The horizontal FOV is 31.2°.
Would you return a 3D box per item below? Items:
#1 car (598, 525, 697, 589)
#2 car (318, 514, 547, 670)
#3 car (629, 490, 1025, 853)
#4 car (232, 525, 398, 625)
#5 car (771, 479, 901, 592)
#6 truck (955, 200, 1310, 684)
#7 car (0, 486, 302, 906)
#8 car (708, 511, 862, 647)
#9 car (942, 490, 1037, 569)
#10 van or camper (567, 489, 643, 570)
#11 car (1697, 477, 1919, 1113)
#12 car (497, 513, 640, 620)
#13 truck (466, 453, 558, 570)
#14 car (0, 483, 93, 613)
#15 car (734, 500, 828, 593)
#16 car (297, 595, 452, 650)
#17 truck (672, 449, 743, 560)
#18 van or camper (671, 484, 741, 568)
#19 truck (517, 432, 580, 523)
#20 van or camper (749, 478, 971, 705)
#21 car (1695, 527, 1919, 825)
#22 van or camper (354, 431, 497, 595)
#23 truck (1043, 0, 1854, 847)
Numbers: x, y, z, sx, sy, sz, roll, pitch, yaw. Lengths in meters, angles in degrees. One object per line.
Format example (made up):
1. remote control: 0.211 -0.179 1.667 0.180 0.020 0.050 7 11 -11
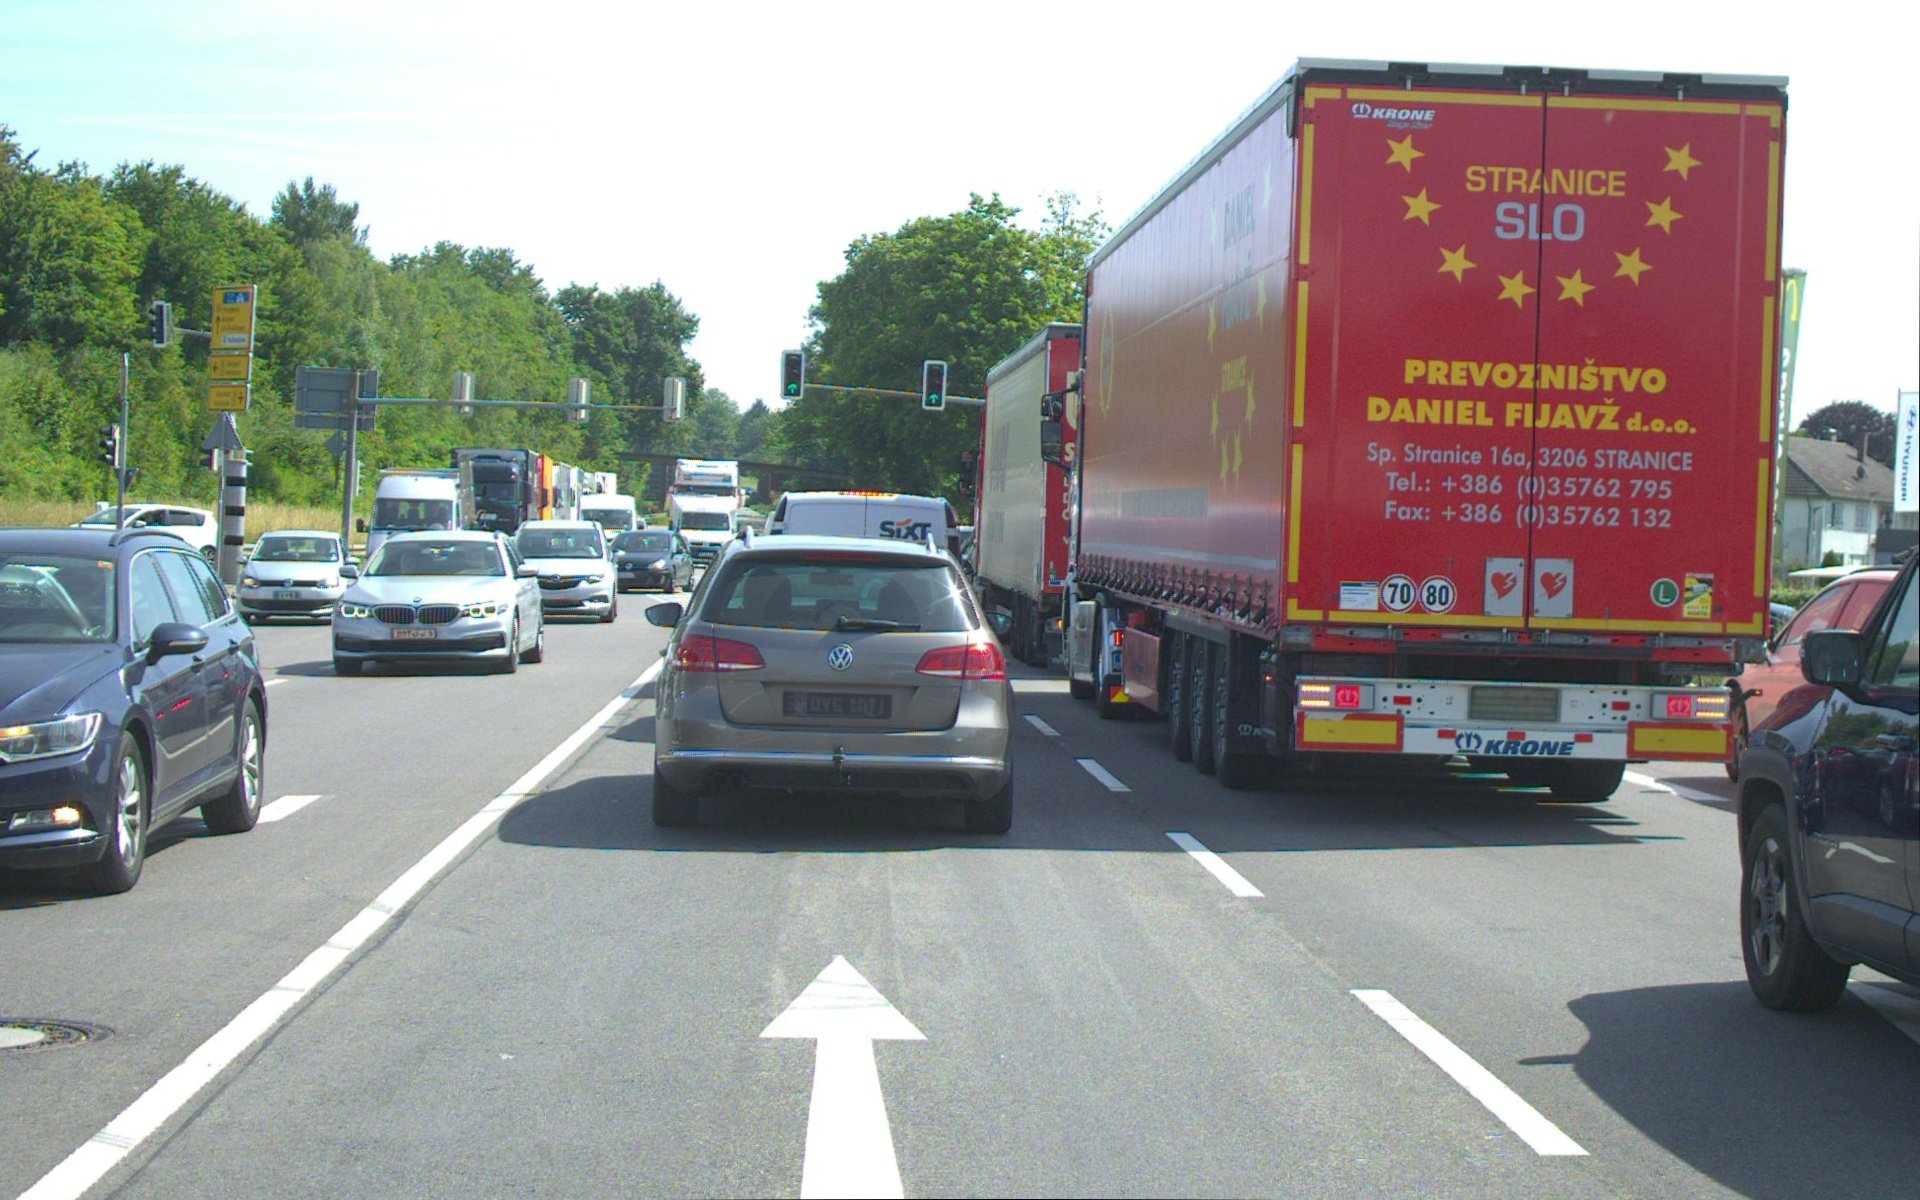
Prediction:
1. car: -7.080 -0.983 78.107 1.666 1.404 3.926 1 1 3
2. car: -5.589 -0.124 36.931 1.909 1.516 4.782 2 1 -3
3. car: -0.583 0.305 17.638 1.790 1.633 3.504 1 1 1
4. car: -9.975 -0.416 53.453 1.836 1.443 4.081 2 1 -1
5. car: -1.768 -0.921 50.016 1.727 1.514 3.312 3 0 0
6. truck: 1.885 -1.907 46.323 3.062 5.202 17.009 2 1 -2
7. car: -4.173 0.296 14.935 1.806 1.554 4.387 1 1 -1
8. car: -2.097 -0.253 41.762 1.727 1.514 3.312 3 0 -2
9. car: 0.587 -1.442 71.116 1.726 1.514 3.312 3 0 -3
10. van or camper: -11.753 -2.347 114.036 2.173 2.542 4.171 3 1 -3
11. car: 3.454 0.523 9.667 1.819 1.679 4.000 1 1 -1
12. car: -6.327 -0.568 55.980 1.909 1.657 4.181 0 1 -1
13. truck: -14.884 -2.938 114.602 2.812 3.773 6.991 1 1 -6
14. car: -14.187 -0.756 46.538 4.521 1.687 2.128 2 1 30
15. car: -3.875 -1.153 74.756 1.727 1.902 3.312 3 0 1
16. car: -16.160 0.614 94.958 1.716 1.443 4.071 2 1 39
17. truck: -10.123 -3.818 138.515 2.552 4.292 7.596 1 1 -2
18. van or camper: -9.111 -2.634 123.719 2.224 2.831 5.711 3 0 -2
19. truck: -17.657 -5.227 147.750 2.532 3.773 6.991 1 1 -6
20. van or camper: -0.960 -0.115 31.827 1.852 1.899 3.785 3 1 -3
21. car: 5.964 0.407 21.437 1.819 1.679 4.000 1 1 -1
22. van or camper: -11.241 -1.847 72.692 2.207 3.045 5.904 8 1 -5
23. truck: 2.712 -1.085 25.935 2.957 4.255 16.586 2 1 -2
